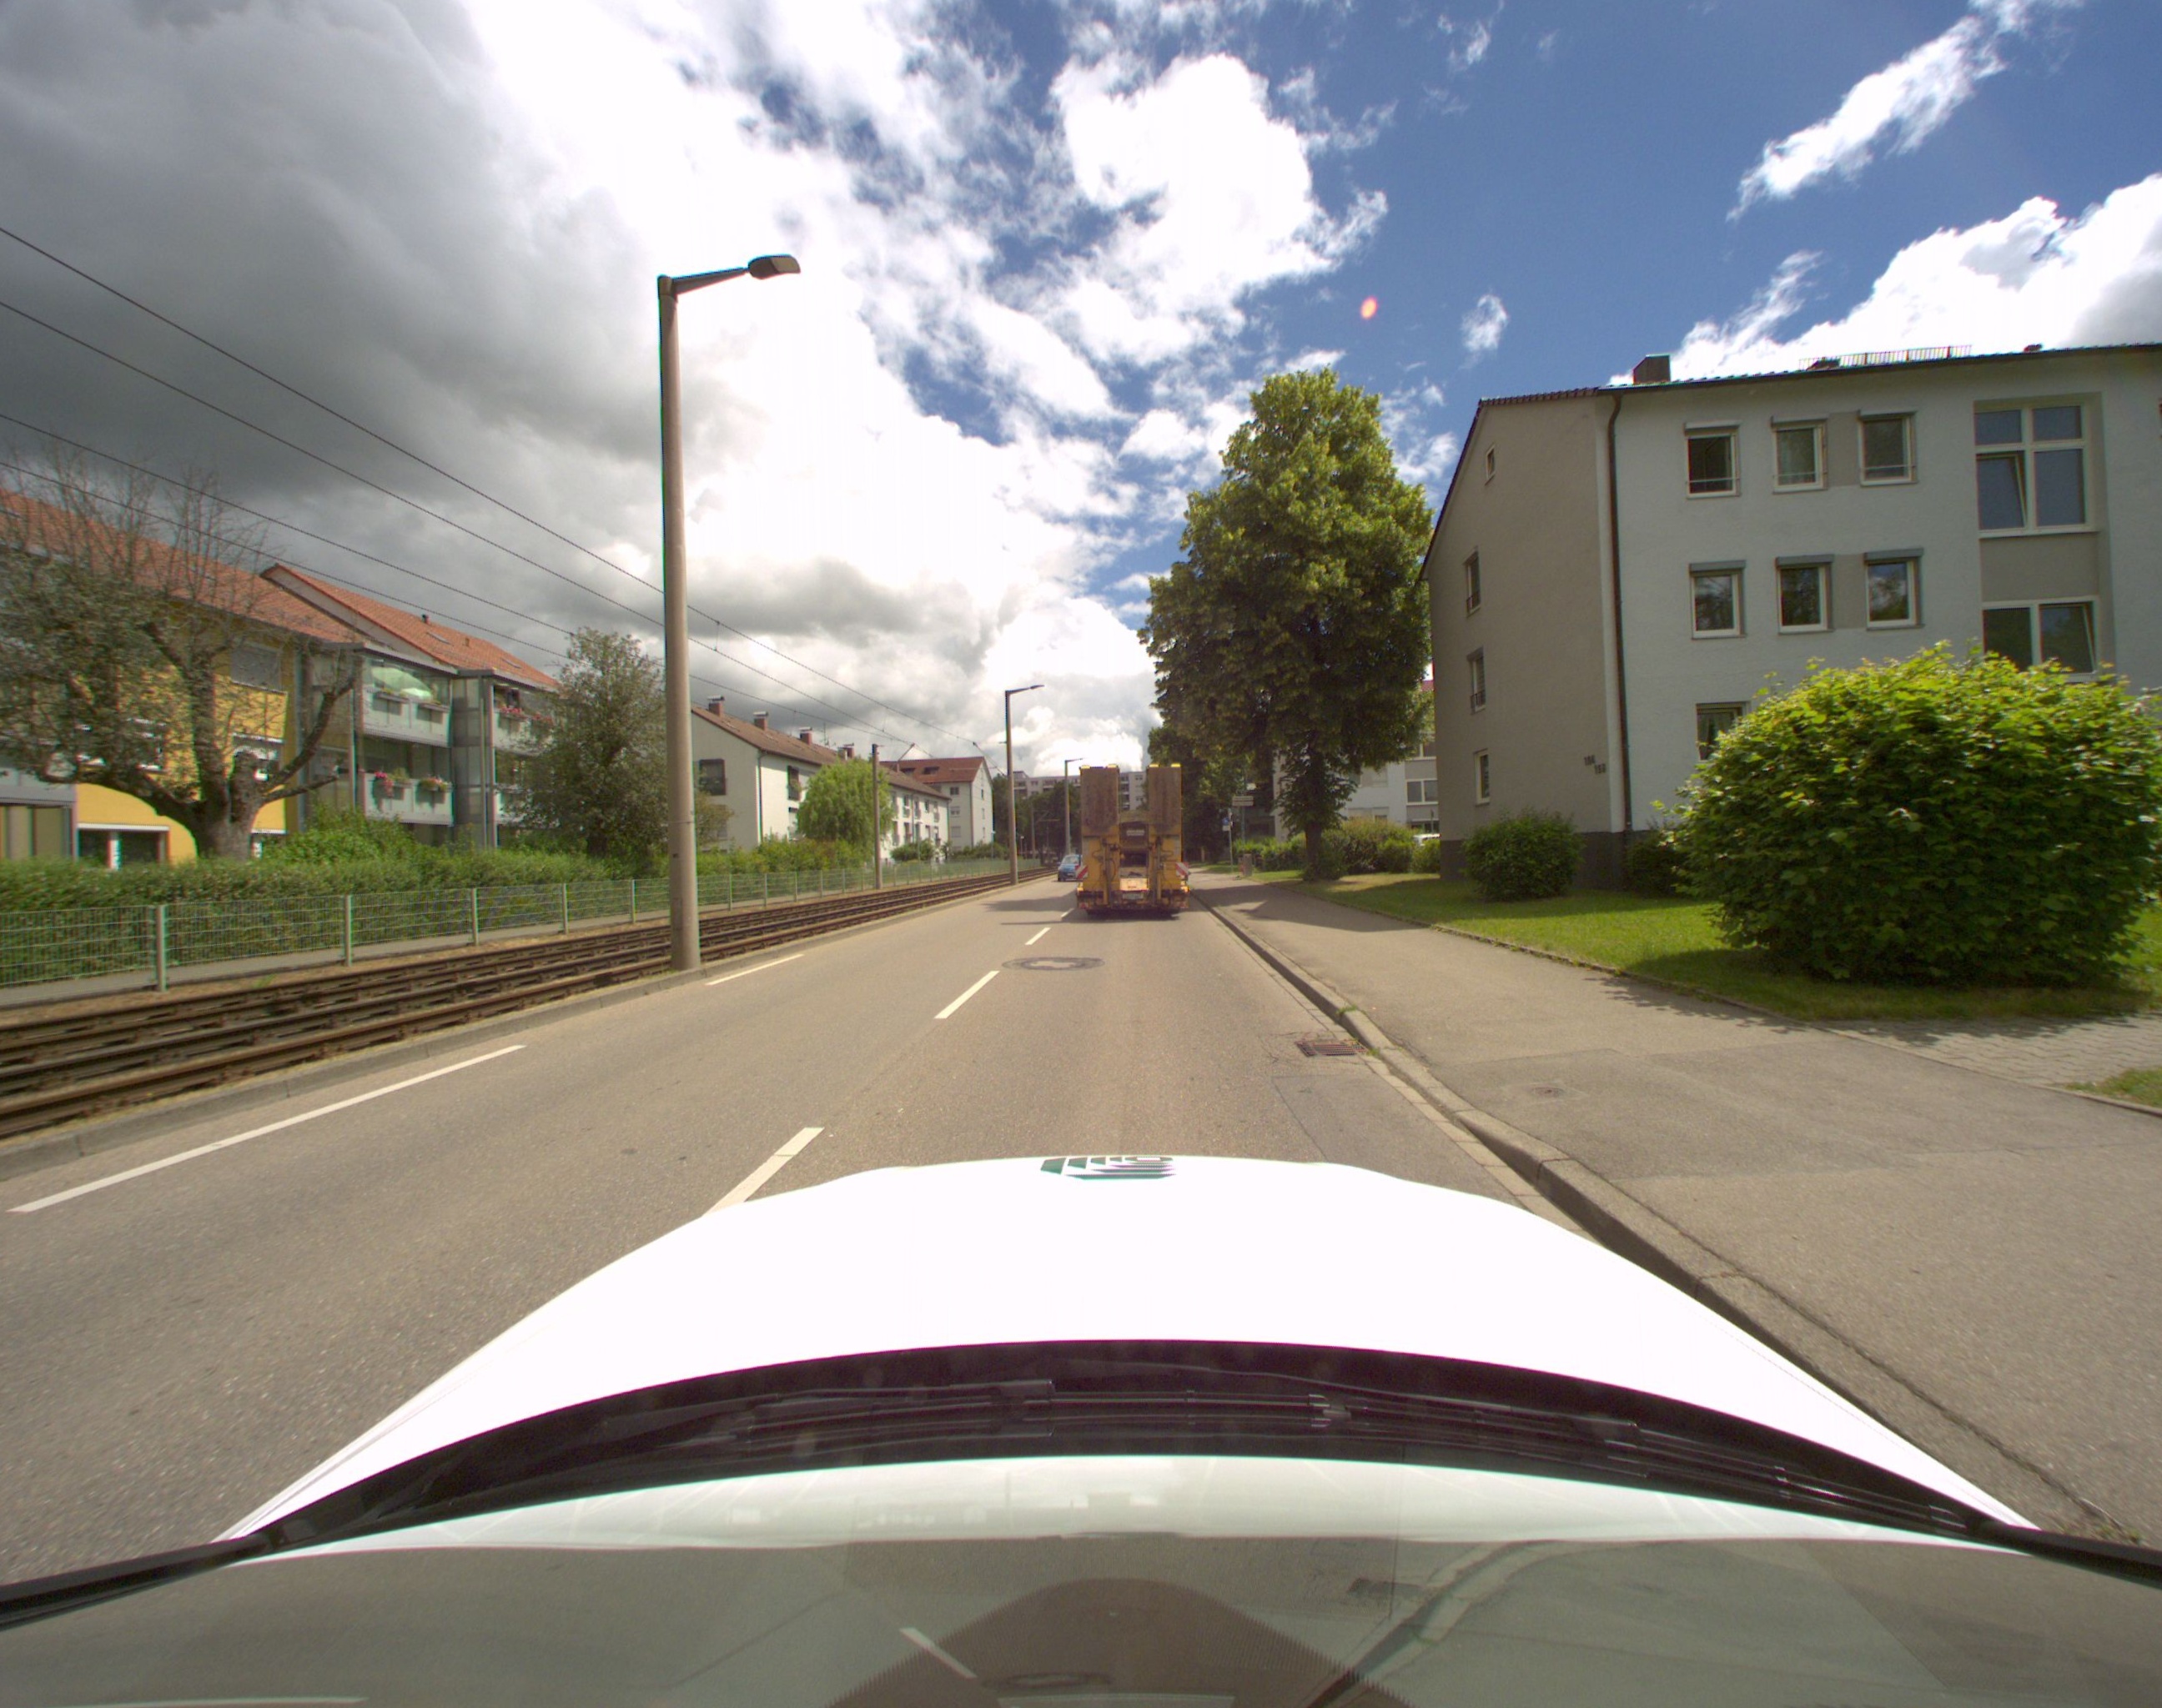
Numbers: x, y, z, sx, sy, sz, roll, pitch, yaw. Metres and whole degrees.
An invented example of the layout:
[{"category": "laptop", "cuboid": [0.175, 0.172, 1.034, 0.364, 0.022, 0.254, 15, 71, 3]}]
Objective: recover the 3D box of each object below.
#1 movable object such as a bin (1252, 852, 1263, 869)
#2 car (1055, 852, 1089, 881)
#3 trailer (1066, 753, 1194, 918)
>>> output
[{"category": "movable object such as a bin", "cuboid": [10.399, 0.400, 47.917, 0.494, 0.955, 0.581, -3, -1, 4]}, {"category": "car", "cuboid": [-0.457, 0.678, 45.606, 1.616, 1.525, 3.585, -1, 0, 4]}, {"category": "trailer", "cuboid": [1.229, -0.384, 24.336, 2.817, 3.646, 12.356, 0, 0, 1]}]
